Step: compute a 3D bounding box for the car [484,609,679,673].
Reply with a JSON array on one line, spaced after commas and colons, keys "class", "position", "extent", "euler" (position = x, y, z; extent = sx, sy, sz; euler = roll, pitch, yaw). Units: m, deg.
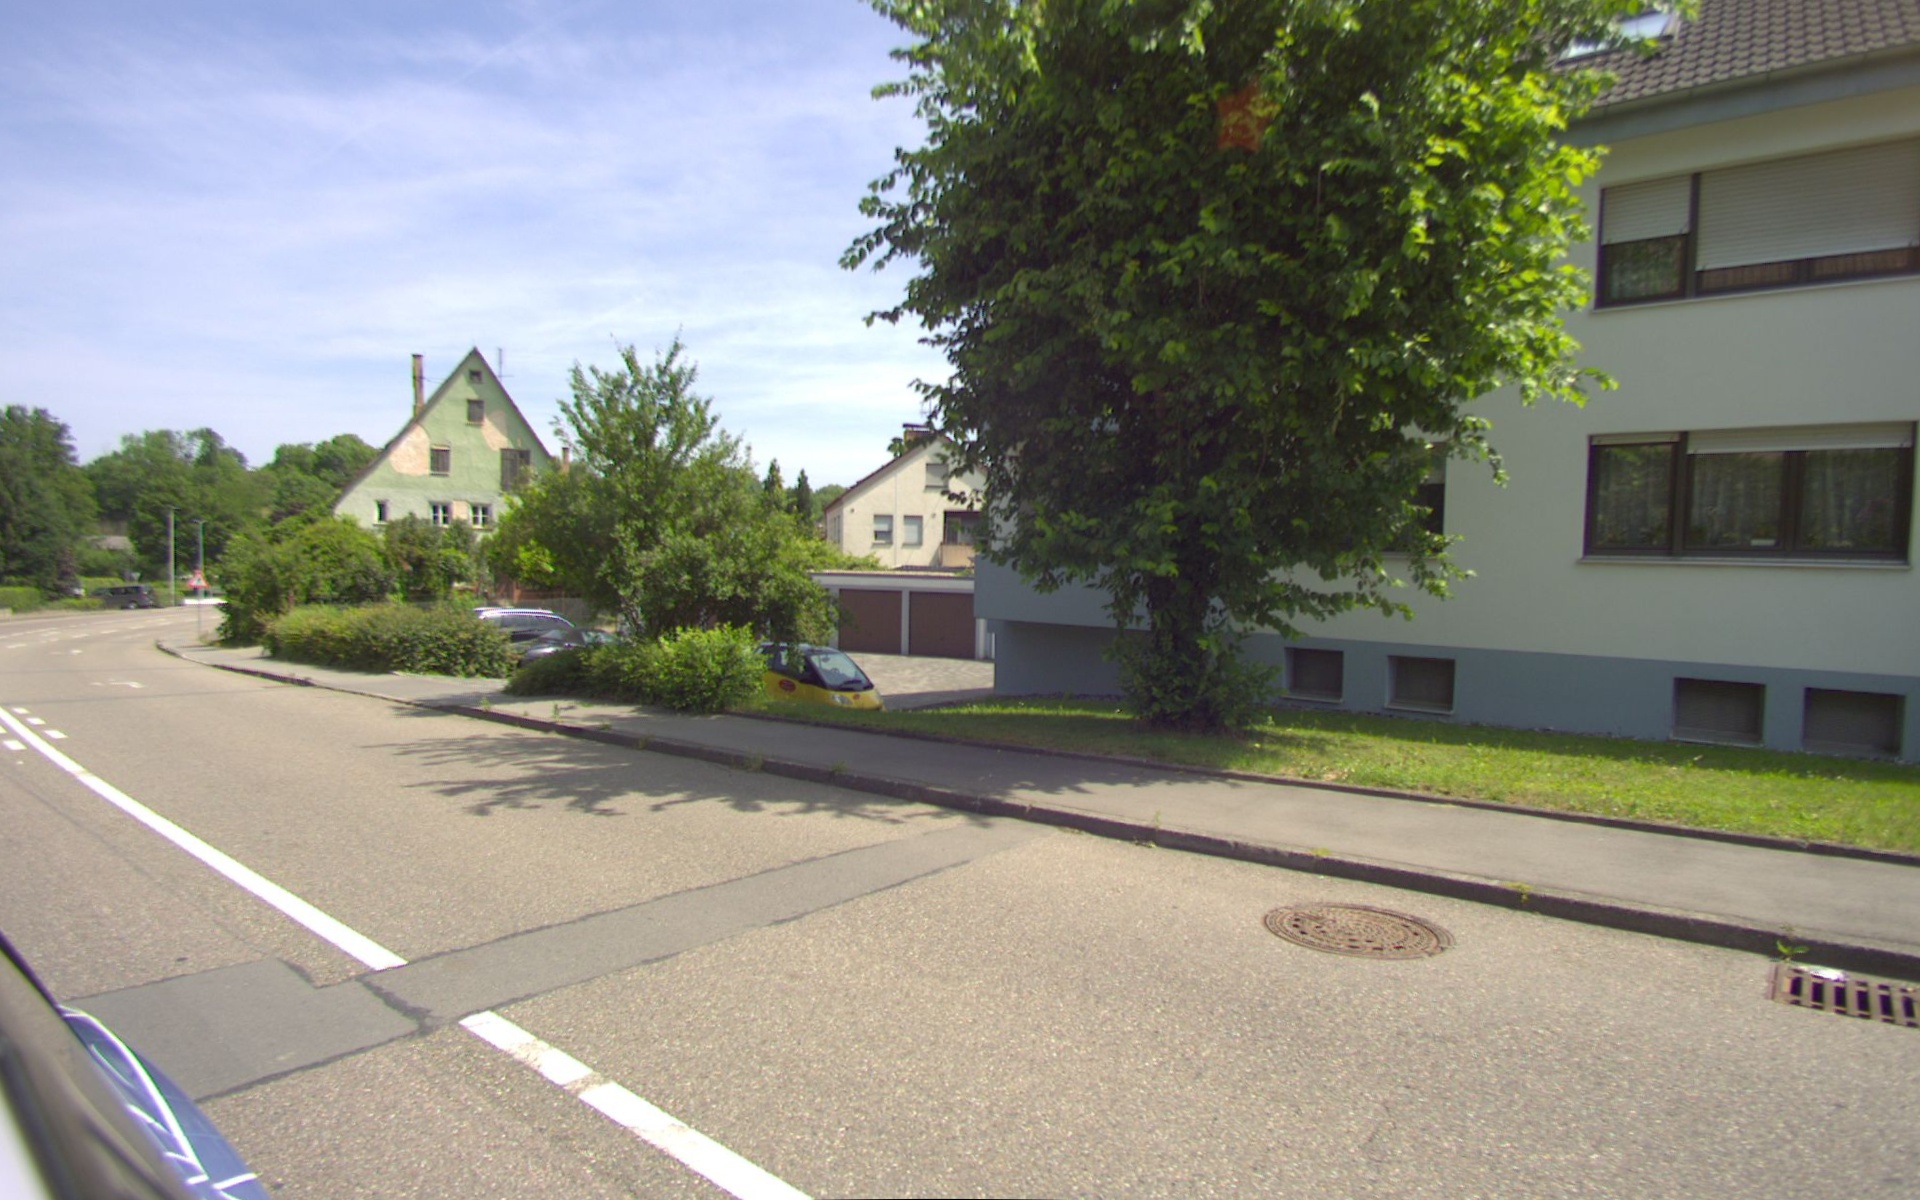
[{"class": "car", "position": [-8.767, 0.985, 23.704], "extent": [1.645, 1.256, 3.916], "euler": [1, -4, 40]}]

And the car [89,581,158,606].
[{"class": "car", "position": [-67.148, -0.552, 81.298], "extent": [3.844, 1.964, 1.961], "euler": [0, 1, -16]}]

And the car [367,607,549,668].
[{"class": "car", "position": [-13.413, 0.937, 27.216], "extent": [1.998, 1.397, 3.949], "euler": [1, 1, 38]}]

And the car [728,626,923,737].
[{"class": "car", "position": [-2.397, 1.355, 17.794], "extent": [3.226, 1.551, 1.459], "euler": [3, 2, 34]}]
